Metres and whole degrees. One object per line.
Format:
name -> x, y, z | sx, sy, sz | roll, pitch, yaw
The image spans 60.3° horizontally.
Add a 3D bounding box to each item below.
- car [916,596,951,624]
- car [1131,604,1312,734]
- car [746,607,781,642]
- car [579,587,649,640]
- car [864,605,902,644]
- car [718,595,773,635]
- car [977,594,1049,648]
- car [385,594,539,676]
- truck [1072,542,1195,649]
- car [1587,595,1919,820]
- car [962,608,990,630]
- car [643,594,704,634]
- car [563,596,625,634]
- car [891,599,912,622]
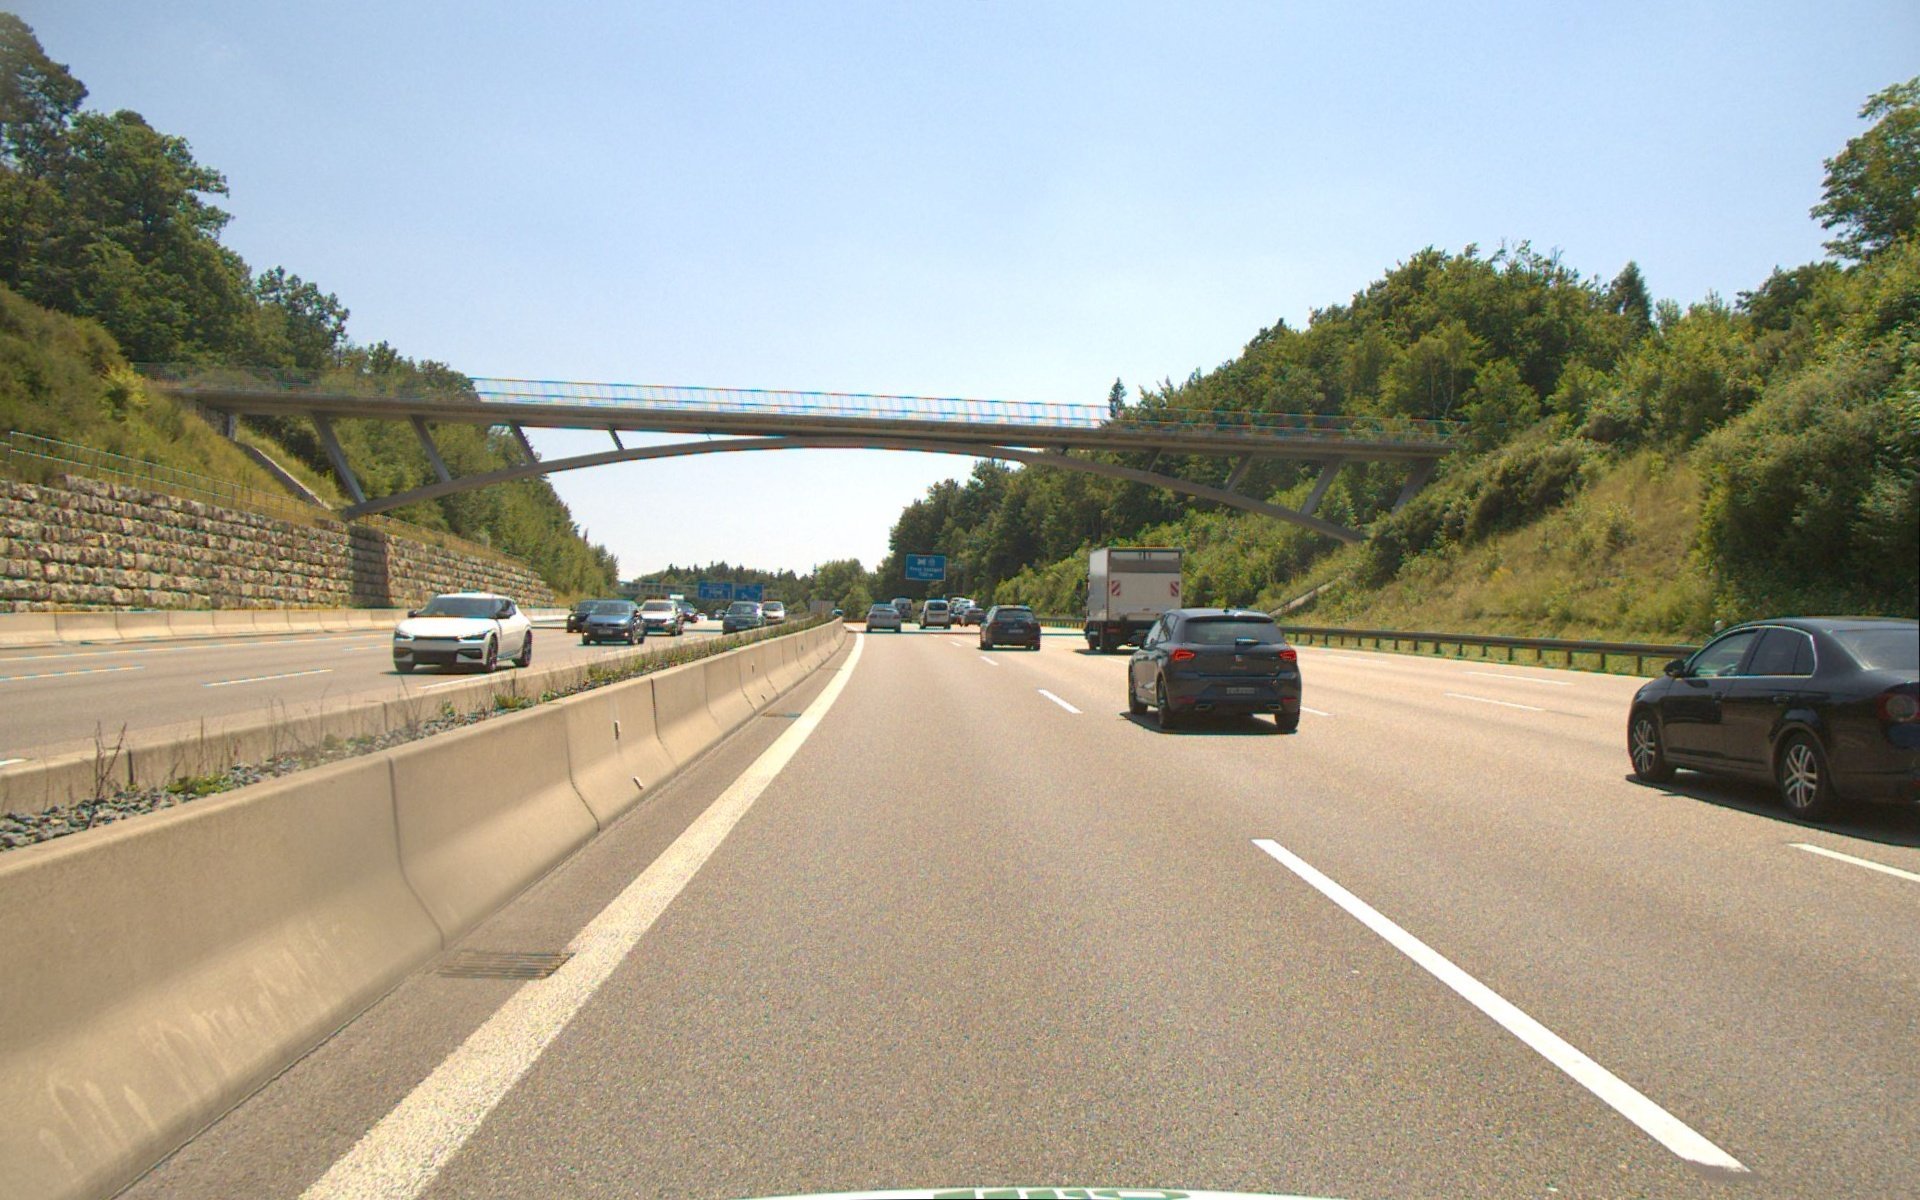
car -> -1.721, 0.630, 106.612 | 2.061, 1.775, 4.684 | 1, 0, -3
car -> 3.241, 0.807, 21.178 | 1.673, 1.458, 4.000 | 1, 0, 0
car -> -12.150, 1.538, 102.294 | 1.955, 2.049, 3.995 | 2, -2, -5
car -> -11.444, 0.414, 54.883 | 1.620, 1.577, 3.998 | 2, 1, -3
car -> -4.142, 1.353, 89.228 | 1.972, 1.878, 3.997 | 1, -3, -3
car -> -9.212, 0.623, 71.243 | 1.953, 1.646, 3.999 | 1, 0, -2
car -> 1.715, 0.663, 55.004 | 1.954, 1.662, 4.757 | 1, 0, -3
car -> -10.104, 0.653, 33.923 | 1.862, 1.522, 4.803 | 1, 0, -2
truck -> 5.523, -0.159, 54.015 | 2.925, 3.222, 7.571 | 1, 0, -2
car -> 6.778, 0.696, 13.132 | 1.632, 1.433, 4.901 | 1, 0, -2
car -> 1.223, 1.444, 128.715 | 1.953, 1.620, 3.998 | 2, -1, -2
car -> -12.201, 0.572, 70.617 | 1.953, 1.646, 3.999 | 1, 0, -2
car -> -16.403, 0.672, 74.304 | 1.953, 1.646, 3.999 | 1, 0, -2
car -> -6.355, 1.175, 178.114 | 2.220, 2.413, 4.699 | 1, -1, -3
